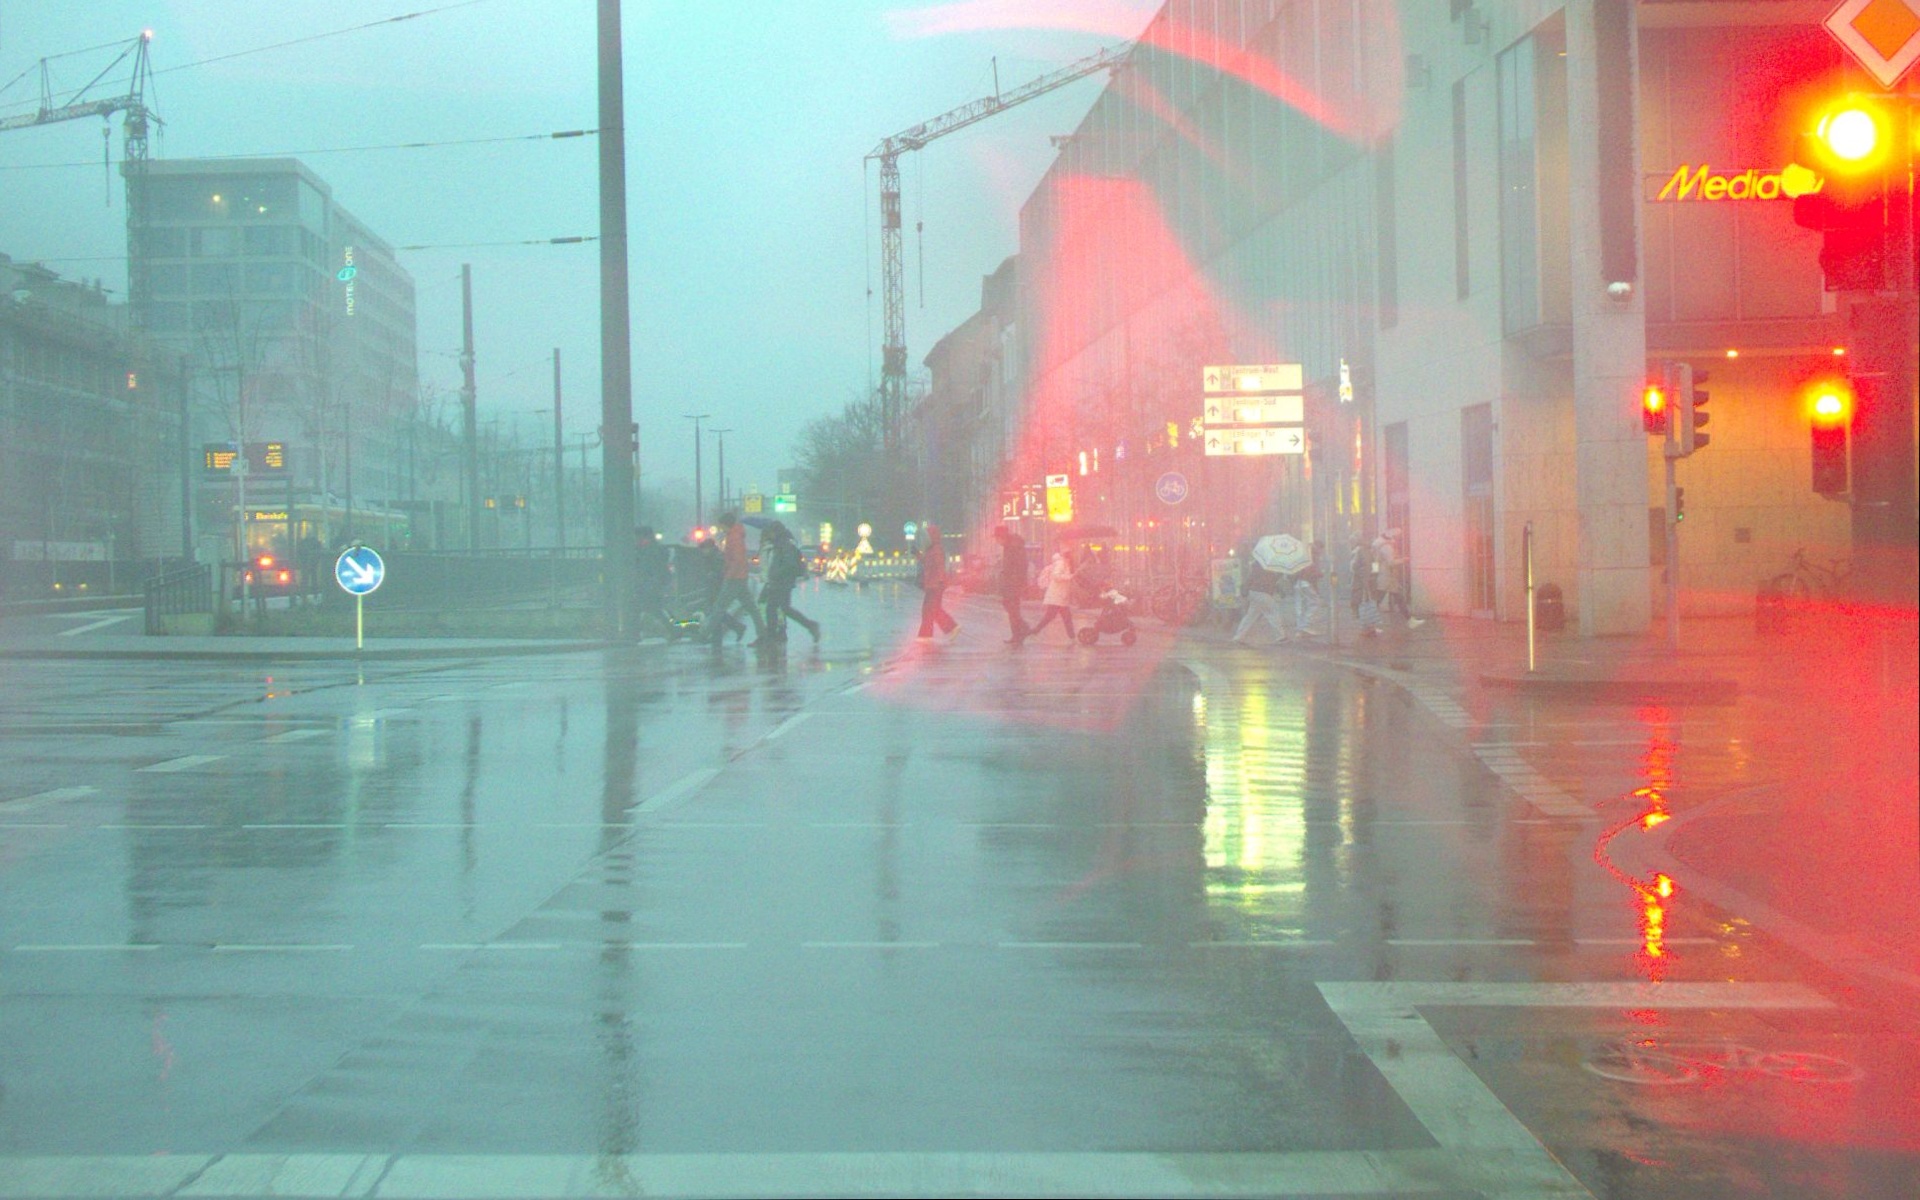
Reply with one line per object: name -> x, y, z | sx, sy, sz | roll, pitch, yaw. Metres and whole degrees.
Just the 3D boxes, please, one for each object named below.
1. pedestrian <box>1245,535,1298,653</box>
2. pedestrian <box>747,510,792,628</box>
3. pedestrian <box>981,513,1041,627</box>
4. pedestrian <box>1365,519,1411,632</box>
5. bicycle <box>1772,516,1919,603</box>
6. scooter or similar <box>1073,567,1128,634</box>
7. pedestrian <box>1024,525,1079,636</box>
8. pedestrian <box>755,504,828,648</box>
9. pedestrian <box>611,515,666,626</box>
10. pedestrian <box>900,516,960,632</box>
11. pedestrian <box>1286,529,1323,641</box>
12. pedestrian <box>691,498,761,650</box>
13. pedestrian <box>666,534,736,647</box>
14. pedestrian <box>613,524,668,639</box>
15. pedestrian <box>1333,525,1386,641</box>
pedestrian -> 4.704, -0.102, 51.935 | 0.702, 1.754, 0.667 | -1, 1, 0
pedestrian -> -2.842, -0.465, 51.236 | 0.619, 1.740, 0.613 | -1, 1, -5
pedestrian -> 0.759, -0.452, 51.323 | 0.843, 1.682, 0.677 | -1, 1, -1
pedestrian -> 6.700, -0.386, 53.820 | 0.617, 1.754, 0.482 | -1, 1, 0
bicycle -> 14.117, -0.643, 54.270 | 2.425, 1.325, 0.635 | -1, 1, -5
scooter or similar -> 2.127, 0.007, 52.010 | 0.741, 0.990, 0.400 | -1, 1, 12
pedestrian -> 1.390, -0.300, 52.158 | 0.741, 1.661, 0.400 | -1, 1, 12
pedestrian -> -2.389, -0.338, 48.674 | 0.775, 2.007, 0.613 | -2, 1, -38
pedestrian -> -4.748, -0.441, 50.799 | 0.706, 1.613, 0.680 | -1, 1, 1
pedestrian -> -0.440, -0.384, 50.327 | 0.831, 1.673, 0.619 | -1, 1, 0
pedestrian -> 5.460, -0.243, 54.447 | 0.512, 1.754, 0.374 | -1, 1, 0
pedestrian -> -3.240, -0.360, 47.628 | 0.686, 2.080, 0.613 | -2, 1, -40
pedestrian -> -3.725, -0.134, 49.499 | 0.817, 1.613, 0.538 | -1, 1, 38
pedestrian -> -4.566, -0.265, 49.147 | 0.706, 1.613, 0.613 | -1, 1, -2
pedestrian -> 6.126, -0.268, 52.790 | 0.703, 1.754, 0.652 | -1, 1, 0
